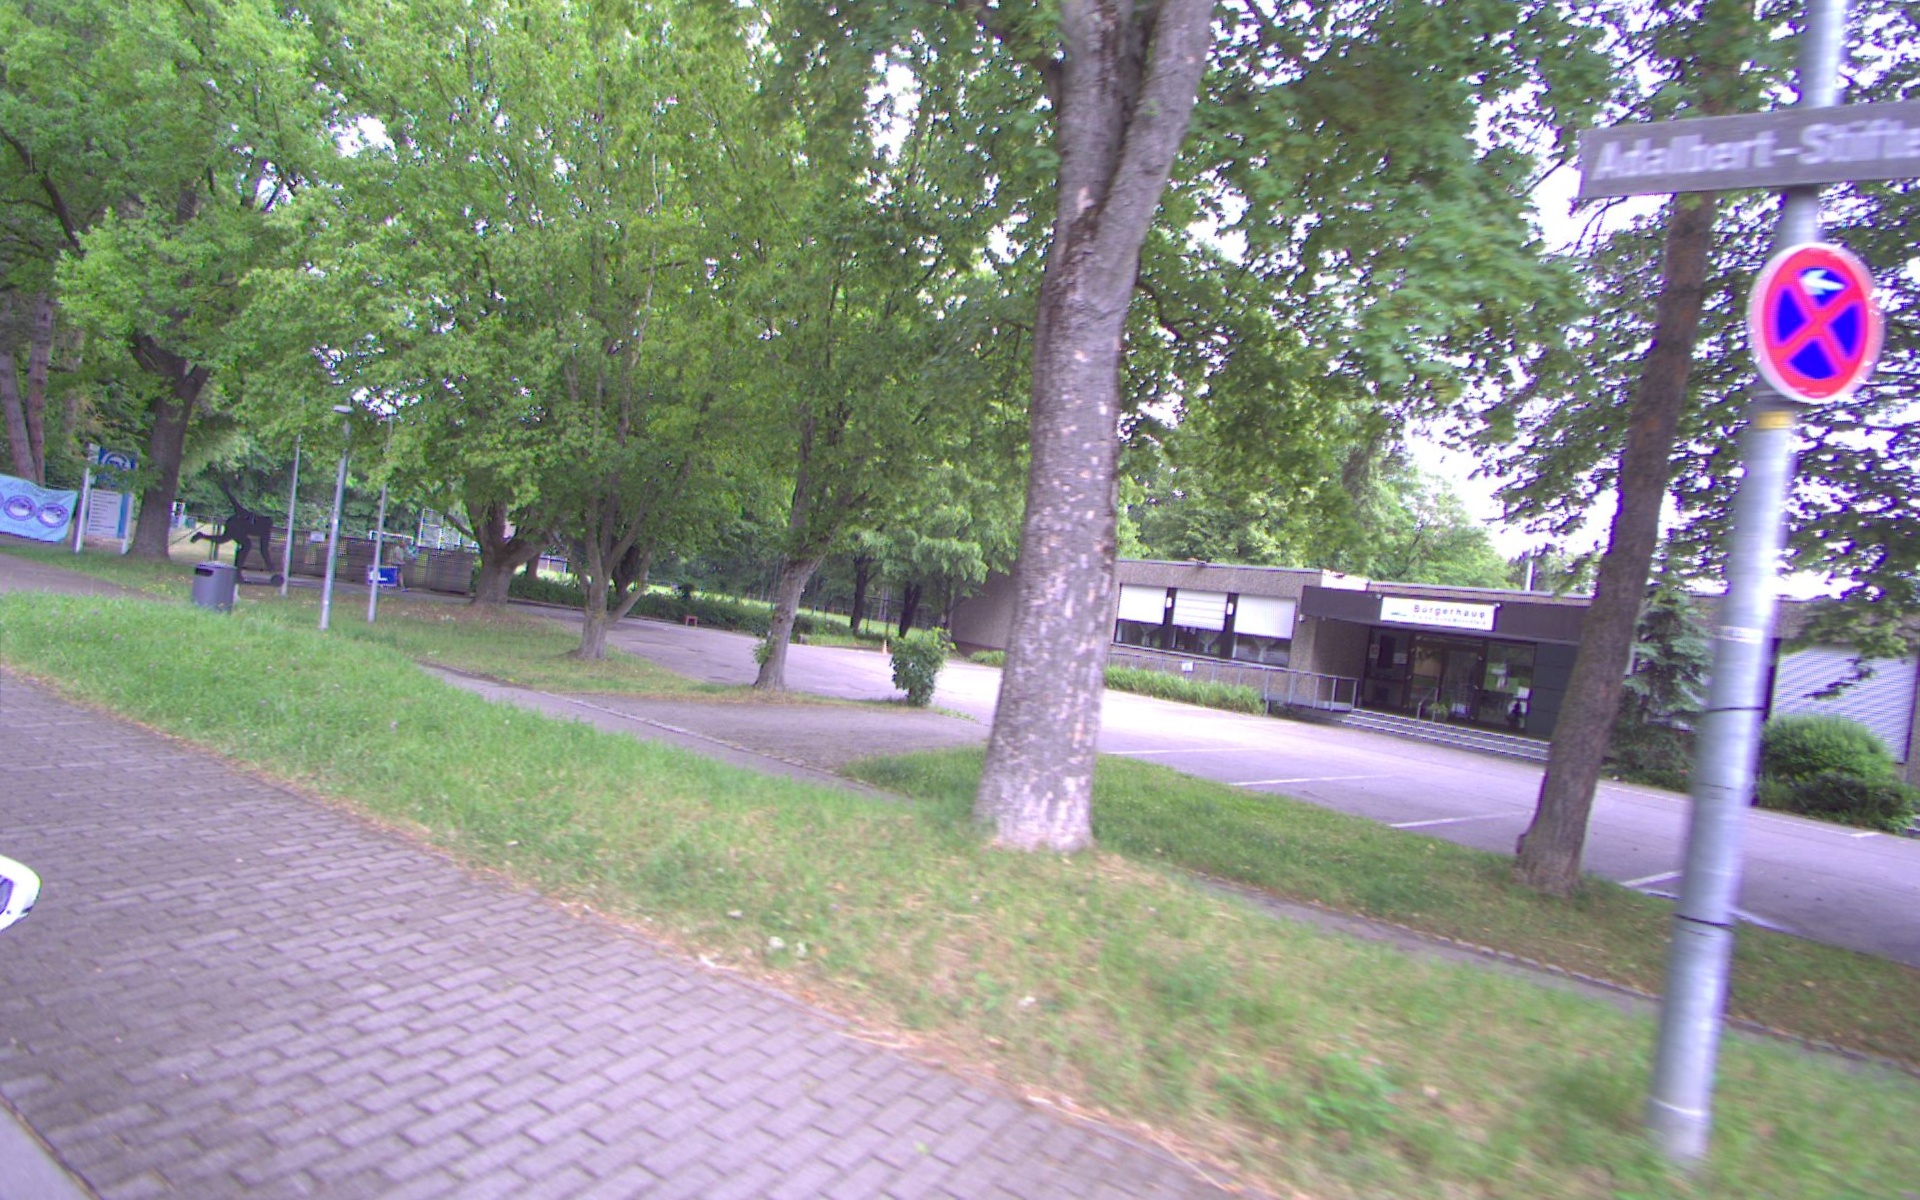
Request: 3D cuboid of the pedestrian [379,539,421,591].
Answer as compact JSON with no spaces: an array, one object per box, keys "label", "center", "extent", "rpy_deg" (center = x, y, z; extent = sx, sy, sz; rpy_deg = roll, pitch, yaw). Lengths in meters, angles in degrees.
[{"label":"pedestrian","center":[-19.879,-1.252,35.698],"extent":[1.140,1.695,0.786],"rpy_deg":[6,1,-34]}]
